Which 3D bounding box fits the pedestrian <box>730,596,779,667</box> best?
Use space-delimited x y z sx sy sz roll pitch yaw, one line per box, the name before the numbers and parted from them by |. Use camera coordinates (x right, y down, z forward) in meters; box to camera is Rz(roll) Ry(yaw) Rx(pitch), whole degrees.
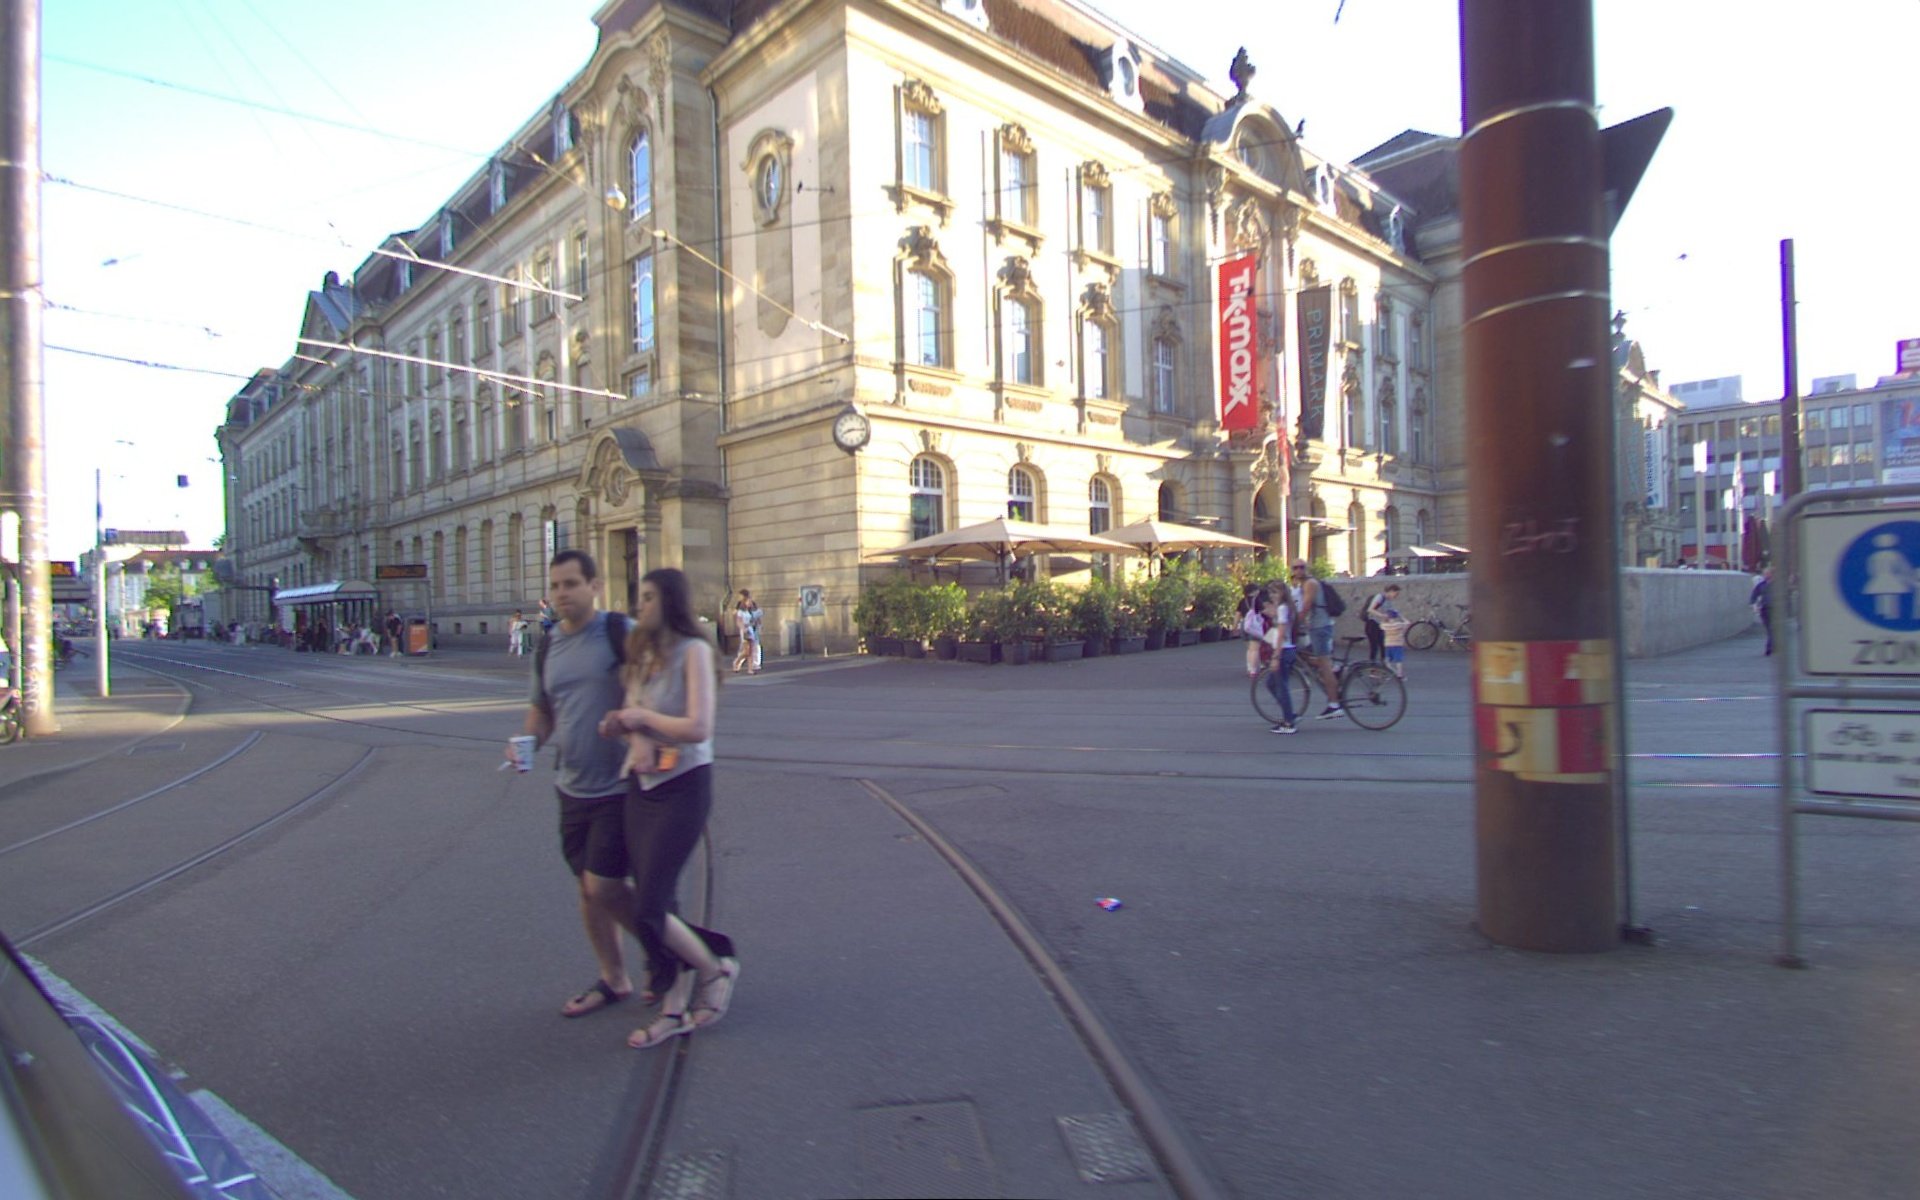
pedestrian | -4.946 0.755 24.308 0.681 1.641 0.972 -1 -2 -45

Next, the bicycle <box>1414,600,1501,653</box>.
bicycle | 10.633 0.576 21.677 0.444 1.094 1.583 -2 0 -41

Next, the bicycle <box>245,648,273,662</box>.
bicycle | -49.801 3.871 71.923 1.555 0.880 0.452 -2 0 -39

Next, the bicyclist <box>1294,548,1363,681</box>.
bicyclist | 4.106 0.165 11.273 0.563 1.438 0.416 -3 0 39

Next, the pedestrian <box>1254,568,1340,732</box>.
pedestrian | 3.600 0.521 10.821 0.640 1.687 0.531 -1 -2 -35

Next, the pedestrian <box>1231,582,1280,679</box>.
pedestrian | 5.165 0.532 17.671 0.688 1.626 0.818 -2 -2 21

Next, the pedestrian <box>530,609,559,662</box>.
pedestrian | -14.147 1.213 34.446 0.706 1.789 0.613 -3 -2 43

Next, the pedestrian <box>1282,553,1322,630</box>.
pedestrian | 7.804 -0.186 23.088 0.717 1.718 0.494 -2 0 29

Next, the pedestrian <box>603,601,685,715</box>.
pedestrian | -4.750 0.860 15.233 0.801 1.641 0.825 -3 -1 33

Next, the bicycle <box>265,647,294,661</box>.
bicycle | -46.154 3.663 68.613 1.555 0.880 0.452 -2 0 -39

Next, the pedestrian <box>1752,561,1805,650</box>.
pedestrian | 15.921 0.121 19.682 0.705 1.687 0.651 0 -2 -43

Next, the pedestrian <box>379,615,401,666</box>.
pedestrian | -20.319 1.433 36.110 0.461 1.789 0.562 -2 -1 -7

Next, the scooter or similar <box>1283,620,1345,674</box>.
scooter or similar | 6.341 0.829 18.109 0.886 0.911 1.087 -3 -2 27

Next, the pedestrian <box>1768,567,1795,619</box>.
pedestrian | 26.353 -0.233 32.452 0.504 1.649 0.346 -1 -1 9

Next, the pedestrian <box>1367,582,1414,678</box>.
pedestrian | 7.261 0.504 17.077 0.647 1.585 0.476 -3 -2 24

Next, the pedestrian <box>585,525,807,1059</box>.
pedestrian | -0.870 0.583 3.400 0.445 1.605 0.567 -2 -1 21

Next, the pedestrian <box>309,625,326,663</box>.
pedestrian | -28.720 1.973 45.245 0.510 1.663 0.640 -1 -1 -21

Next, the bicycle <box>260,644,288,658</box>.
bicycle | -47.306 3.502 69.769 1.555 0.880 0.452 -2 0 -39

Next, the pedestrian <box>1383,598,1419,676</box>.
pedestrian | 7.212 0.606 16.544 0.482 1.252 0.409 -3 -2 24

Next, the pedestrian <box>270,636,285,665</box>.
pedestrian | -39.407 2.897 58.419 0.434 1.617 0.572 -2 0 1

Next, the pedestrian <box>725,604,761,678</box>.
pedestrian | -4.630 0.874 21.607 0.501 1.537 0.522 -3 -1 31

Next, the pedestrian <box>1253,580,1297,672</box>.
pedestrian | 5.785 0.474 18.567 0.662 1.626 0.767 -2 -2 21

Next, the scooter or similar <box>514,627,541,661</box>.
scooter or similar | -16.004 1.623 37.442 0.481 1.190 1.295 -2 0 -41

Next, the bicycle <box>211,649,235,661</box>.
bicycle | -61.898 4.613 85.028 1.555 0.880 0.452 -2 0 -39

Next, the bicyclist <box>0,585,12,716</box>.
bicyclist | -12.211 0.634 12.370 0.785 1.605 0.606 -2 -1 19

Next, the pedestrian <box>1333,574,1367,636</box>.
pedestrian | 11.006 0.150 28.537 0.720 1.718 0.492 -2 0 40

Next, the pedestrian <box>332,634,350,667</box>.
pedestrian | -25.484 2.071 41.680 0.511 1.337 0.639 -1 -1 -40

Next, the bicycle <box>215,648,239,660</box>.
bicycle | -59.845 4.370 82.644 1.555 0.880 0.452 -2 0 -39

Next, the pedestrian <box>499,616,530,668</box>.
pedestrian | -14.337 1.357 32.566 0.631 1.626 0.691 -3 -1 45

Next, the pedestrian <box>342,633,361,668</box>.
pedestrian | -24.380 2.020 40.542 0.511 1.337 0.639 -1 -1 -40

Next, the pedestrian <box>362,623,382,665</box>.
pedestrian | -22.546 1.679 38.798 0.511 1.581 0.639 -1 -1 -40

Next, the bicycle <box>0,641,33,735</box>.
bicycle | -12.233 1.071 12.378 1.612 1.112 0.626 -1 -2 19

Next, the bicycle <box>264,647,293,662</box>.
bicycle | -45.116 3.604 67.015 1.555 0.880 0.452 -2 0 -39

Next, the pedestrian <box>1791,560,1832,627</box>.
pedestrian | 21.921 -0.153 26.049 0.705 1.687 0.651 0 -2 -43

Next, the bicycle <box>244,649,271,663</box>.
bicycle | -50.500 3.996 72.768 1.555 0.880 0.452 -2 0 -39

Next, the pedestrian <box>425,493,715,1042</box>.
pedestrian | -1.367 0.531 3.626 0.606 1.713 0.740 -2 -1 22

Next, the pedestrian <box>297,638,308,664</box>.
pedestrian | -30.987 2.395 47.718 0.360 1.209 0.430 -2 0 -38

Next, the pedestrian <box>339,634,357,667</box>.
pedestrian | -24.873 2.043 41.132 0.511 1.337 0.639 -1 -1 -40

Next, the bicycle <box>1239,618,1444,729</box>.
bicycle | 4.186 0.792 11.215 2.020 1.106 0.567 -3 0 40

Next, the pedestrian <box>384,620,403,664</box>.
pedestrian | -22.010 1.633 39.320 0.511 1.658 0.639 -1 -1 -40

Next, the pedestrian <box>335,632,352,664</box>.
pedestrian | -26.715 2.075 43.878 0.511 1.337 0.639 -1 -1 -40

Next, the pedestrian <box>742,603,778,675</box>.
pedestrian | -4.405 0.856 22.296 0.500 1.537 0.513 -3 -1 36
